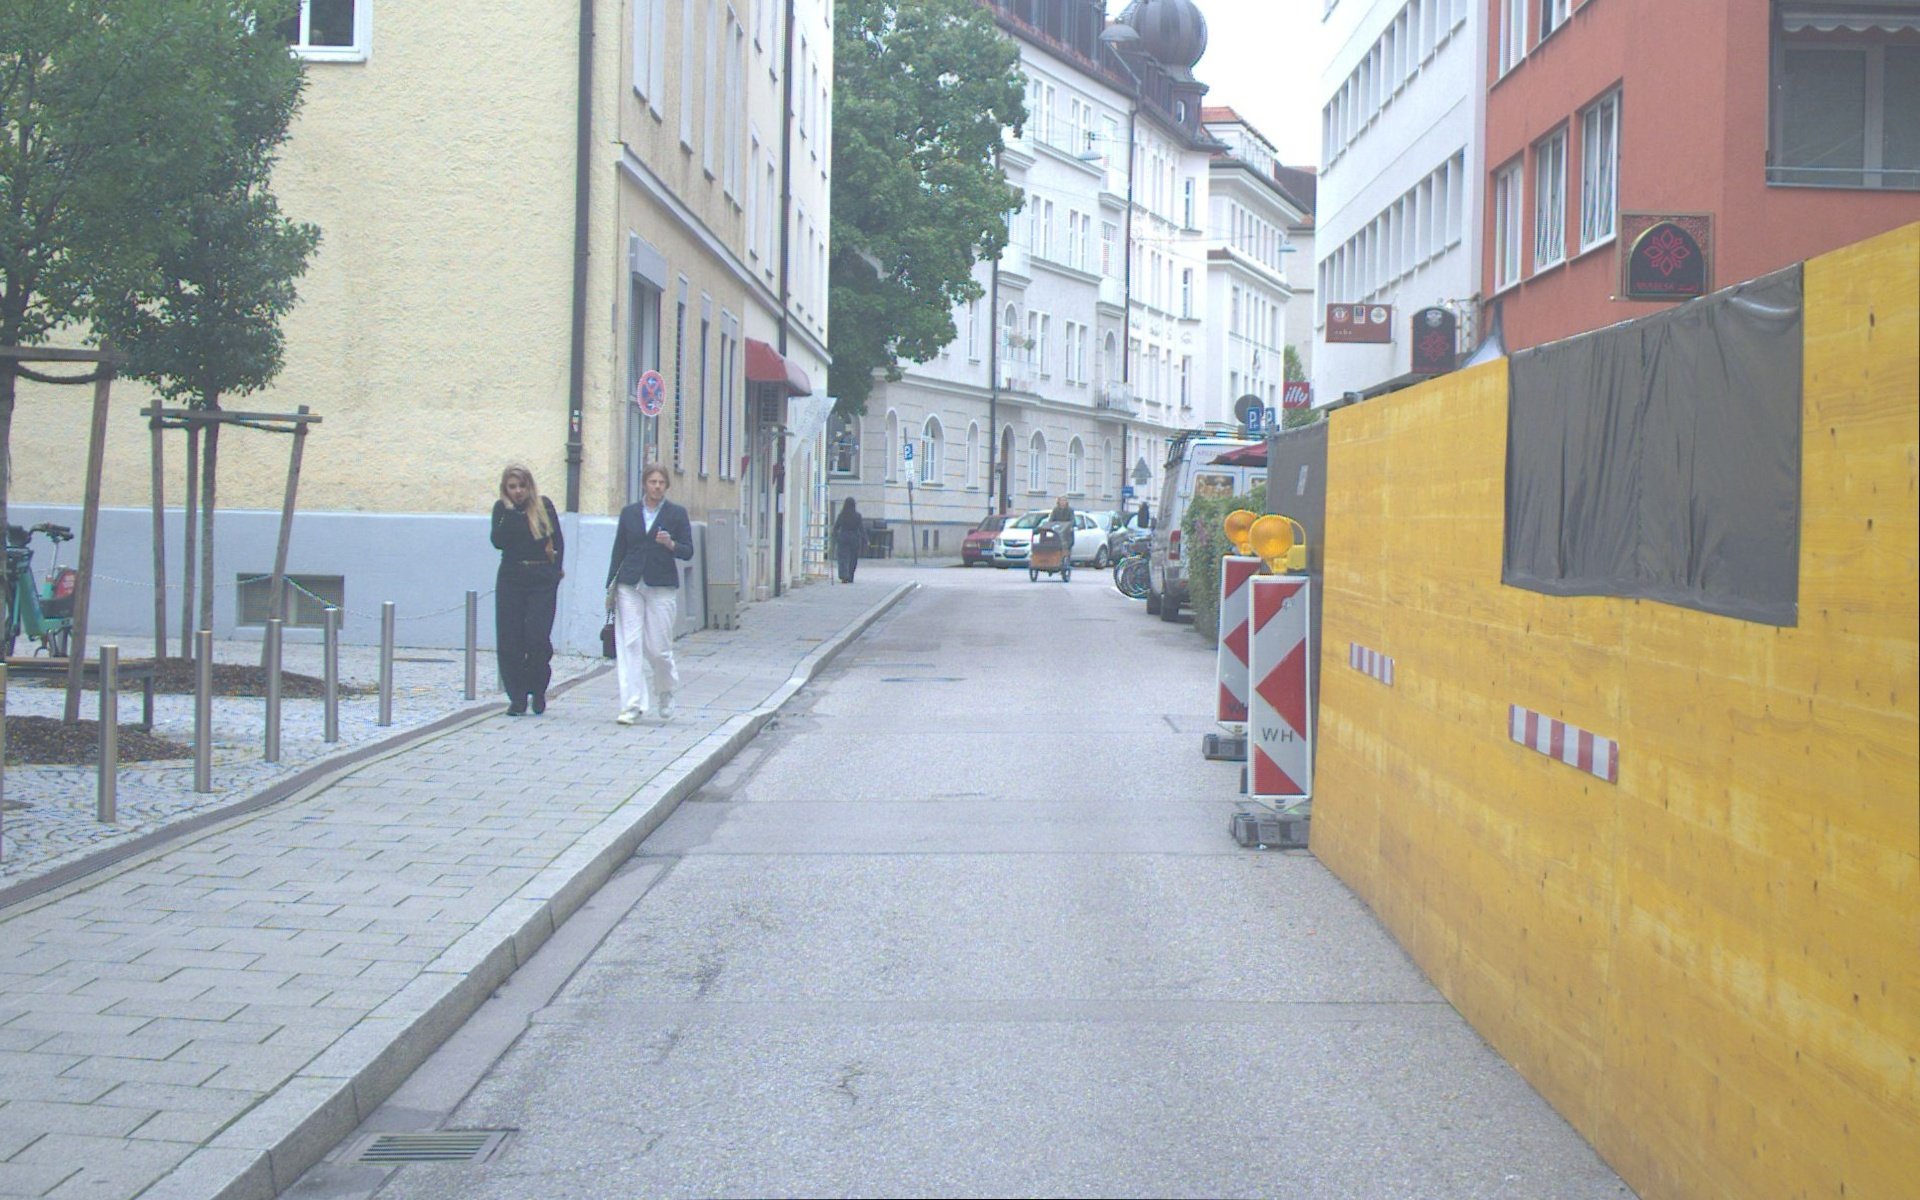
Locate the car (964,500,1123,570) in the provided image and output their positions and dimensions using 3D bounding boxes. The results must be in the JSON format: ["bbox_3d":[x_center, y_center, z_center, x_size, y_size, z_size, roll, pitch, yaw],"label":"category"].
[{"bbox_3d":[2.075,-1.591,84.620,1.695,1.568,3.990,4,2,41],"label":"car"}]

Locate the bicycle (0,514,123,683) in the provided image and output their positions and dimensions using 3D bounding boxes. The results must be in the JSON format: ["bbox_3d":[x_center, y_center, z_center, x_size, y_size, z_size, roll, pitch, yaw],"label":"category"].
[{"bbox_3d":[-6.633,-0.033,24.525,0.510,1.140,2.051,3,1,8],"label":"bicycle"}]

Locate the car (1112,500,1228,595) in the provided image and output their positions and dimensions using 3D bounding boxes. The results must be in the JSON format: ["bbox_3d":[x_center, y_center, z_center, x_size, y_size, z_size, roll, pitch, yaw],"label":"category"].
[{"bbox_3d":[3.810,-0.985,62.965,1.788,1.620,4.273,2,2,0],"label":"car"}]

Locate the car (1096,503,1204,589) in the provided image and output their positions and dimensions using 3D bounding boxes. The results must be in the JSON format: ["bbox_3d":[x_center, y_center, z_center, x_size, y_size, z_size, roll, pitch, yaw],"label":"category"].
[{"bbox_3d":[3.711,-1.080,67.626,1.811,1.557,4.275,3,1,0],"label":"car"}]

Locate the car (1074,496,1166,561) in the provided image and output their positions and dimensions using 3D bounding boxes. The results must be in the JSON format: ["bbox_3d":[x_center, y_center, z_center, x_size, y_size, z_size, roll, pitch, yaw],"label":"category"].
[{"bbox_3d":[4.855,-2.132,103.841,2.022,1.897,4.288,1,1,13],"label":"car"}]

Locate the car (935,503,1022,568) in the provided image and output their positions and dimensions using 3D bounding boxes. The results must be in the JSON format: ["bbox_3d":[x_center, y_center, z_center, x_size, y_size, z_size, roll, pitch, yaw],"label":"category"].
[{"bbox_3d":[0.511,-1.688,89.357,1.692,1.568,3.999,3,2,8],"label":"car"}]

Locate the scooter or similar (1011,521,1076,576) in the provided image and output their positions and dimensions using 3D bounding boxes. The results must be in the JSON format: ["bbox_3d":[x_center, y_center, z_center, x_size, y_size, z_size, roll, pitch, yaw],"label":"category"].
[{"bbox_3d":[1.778,-1.094,73.140,1.068,1.123,1.159,3,1,17],"label":"scooter or similar"}]

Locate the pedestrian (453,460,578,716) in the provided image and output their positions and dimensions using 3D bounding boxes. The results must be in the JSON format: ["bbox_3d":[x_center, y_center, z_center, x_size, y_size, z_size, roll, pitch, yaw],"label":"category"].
[{"bbox_3d":[-2.939,-0.083,22.784,0.670,1.642,0.761,2,1,0],"label":"pedestrian"}]

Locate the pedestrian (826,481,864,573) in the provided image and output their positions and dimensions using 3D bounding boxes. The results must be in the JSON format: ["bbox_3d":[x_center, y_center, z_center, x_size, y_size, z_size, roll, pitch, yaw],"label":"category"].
[{"bbox_3d":[-2.139,-1.361,64.003,0.634,1.669,0.517,2,1,0],"label":"pedestrian"}]

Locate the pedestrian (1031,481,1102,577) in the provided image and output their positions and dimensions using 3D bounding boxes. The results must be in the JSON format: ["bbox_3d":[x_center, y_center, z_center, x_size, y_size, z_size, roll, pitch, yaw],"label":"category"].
[{"bbox_3d":[2.309,-1.530,74.514,1.134,2.007,1.408,3,1,17],"label":"pedestrian"}]

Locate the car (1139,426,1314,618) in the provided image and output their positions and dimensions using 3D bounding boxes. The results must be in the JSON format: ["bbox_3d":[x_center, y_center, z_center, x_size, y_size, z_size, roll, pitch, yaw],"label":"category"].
[{"bbox_3d":[3.755,-1.124,49.246,1.993,2.528,4.975,2,2,0],"label":"car"}]

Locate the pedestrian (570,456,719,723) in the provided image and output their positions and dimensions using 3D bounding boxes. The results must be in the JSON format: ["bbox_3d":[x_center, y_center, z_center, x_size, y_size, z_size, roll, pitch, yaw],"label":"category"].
[{"bbox_3d":[-2.070,-0.078,22.646,0.839,1.694,0.803,2,1,0],"label":"pedestrian"}]
